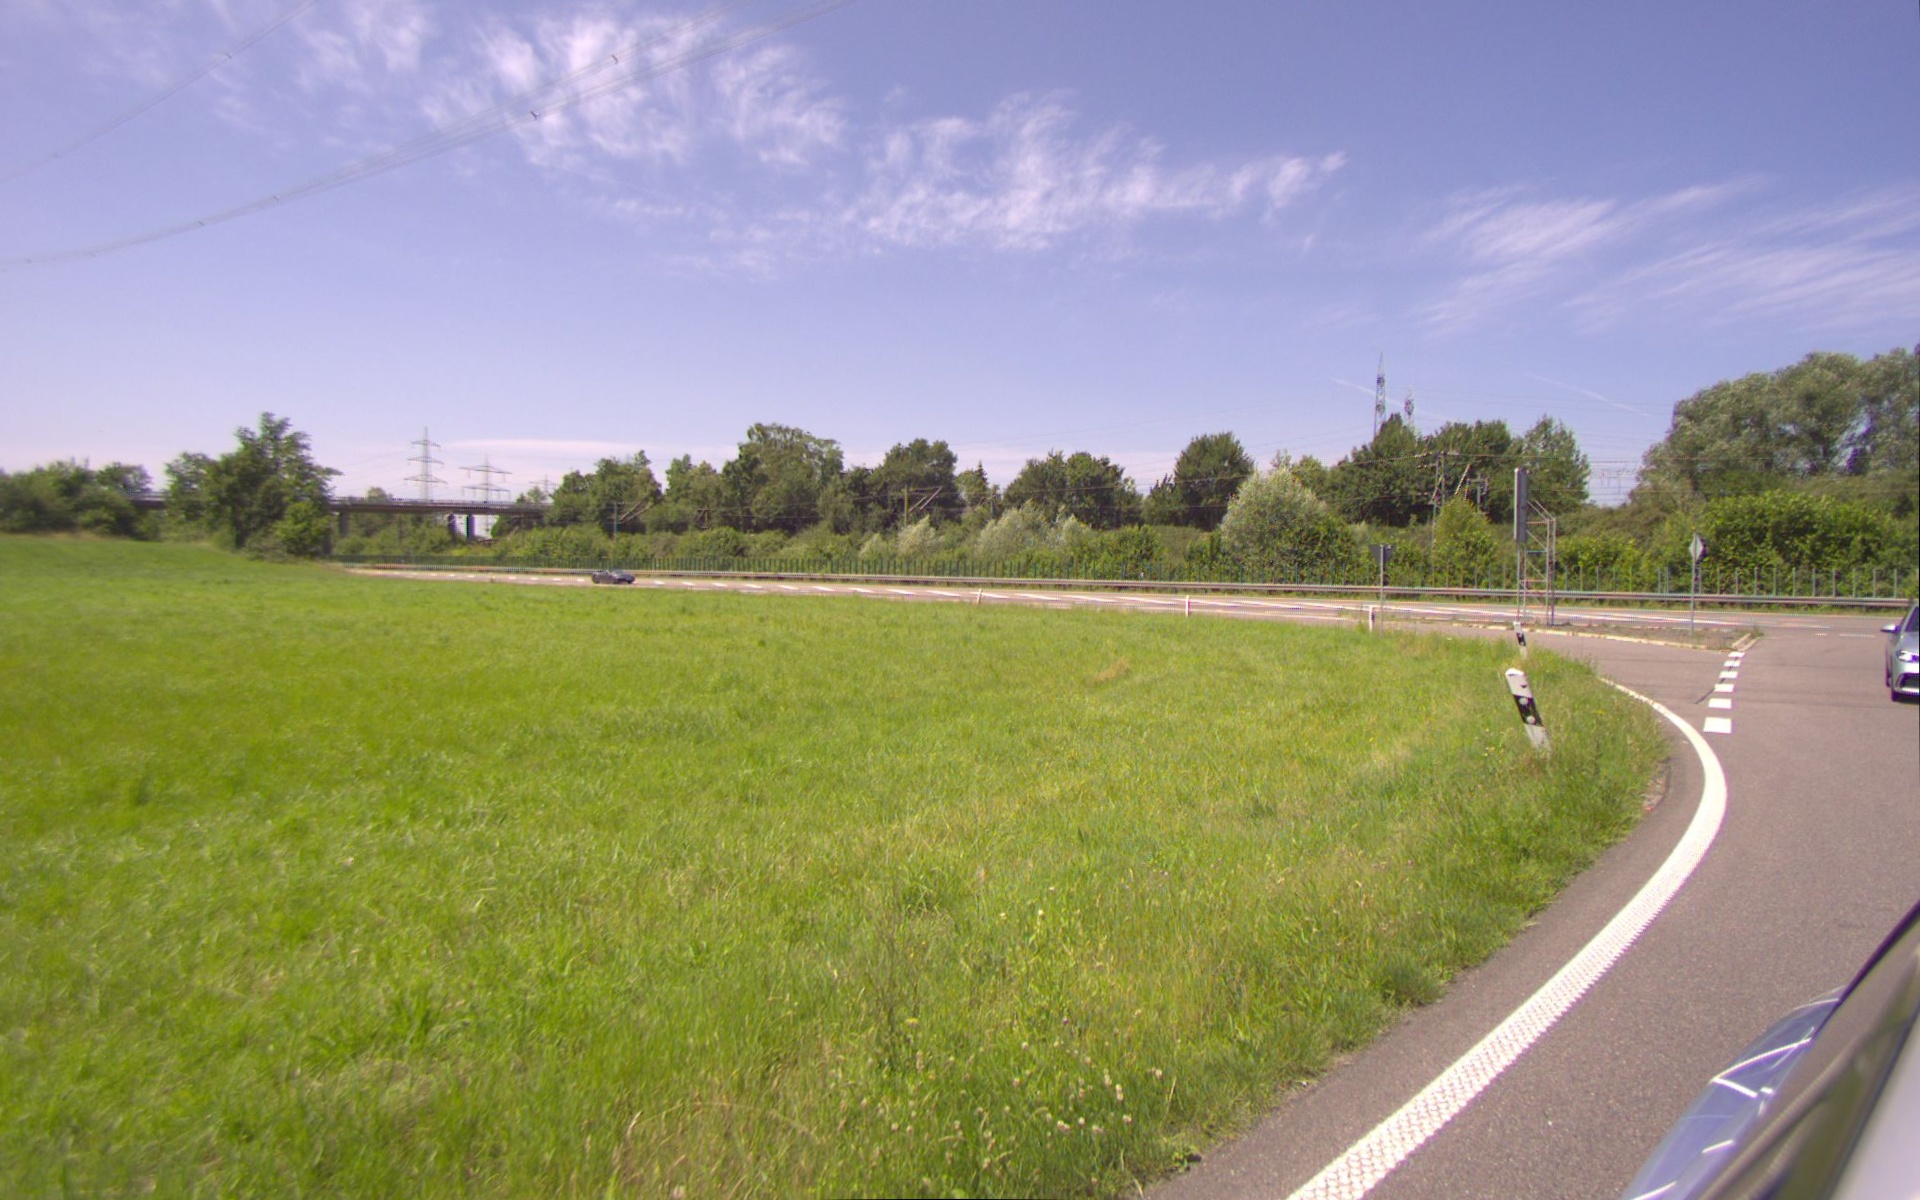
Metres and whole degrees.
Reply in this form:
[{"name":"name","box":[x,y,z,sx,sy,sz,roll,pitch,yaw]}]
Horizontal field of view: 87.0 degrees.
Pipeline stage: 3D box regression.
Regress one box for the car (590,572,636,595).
[{"name":"car","box":[-27.936,-1.320,81.495,3.982,1.745,1.700,3,3,40]}]

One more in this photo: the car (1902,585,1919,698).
[{"name":"car","box":[14.965,0.560,14.700,1.819,1.505,4.085,1,2,43]}]
